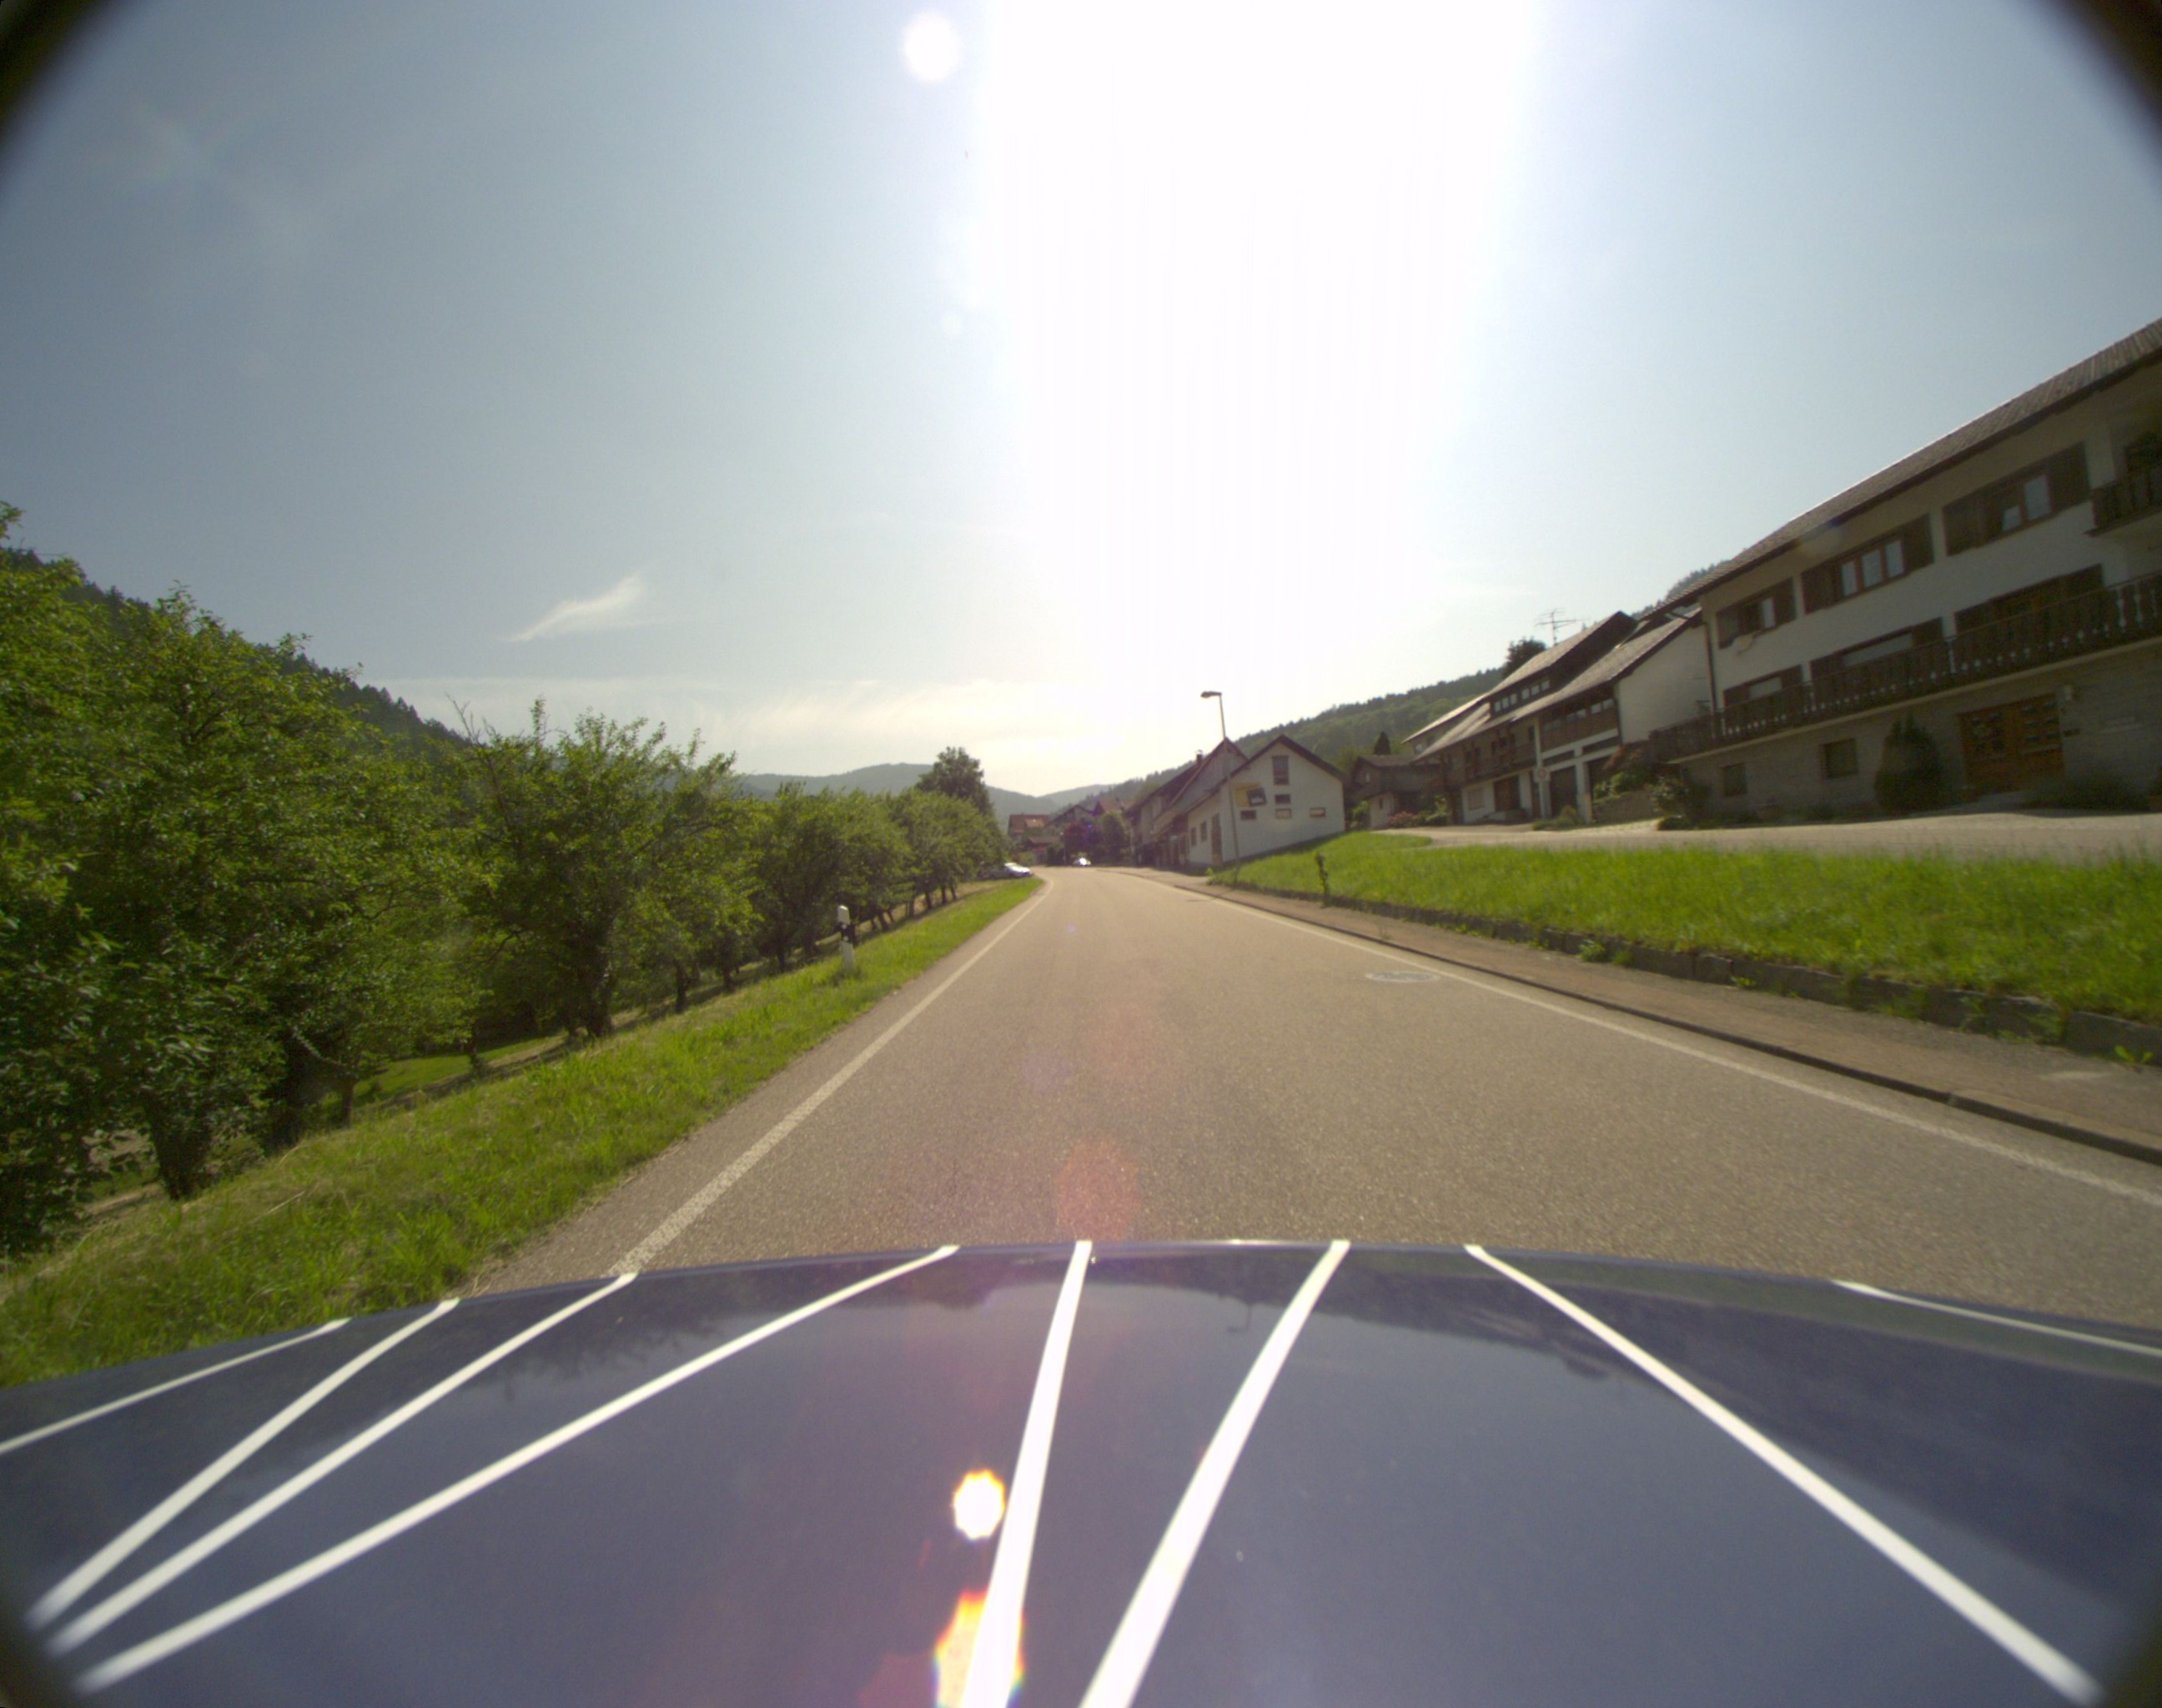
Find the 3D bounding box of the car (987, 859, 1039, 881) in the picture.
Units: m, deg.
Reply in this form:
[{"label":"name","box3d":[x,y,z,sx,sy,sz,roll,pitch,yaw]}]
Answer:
[{"label":"car","box3d":[-5.883,1.393,65.191,1.909,1.561,4.451,-5,-1,-45]}]

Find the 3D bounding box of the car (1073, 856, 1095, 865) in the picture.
[{"label":"car","box3d":[0.458,0.996,114.081,1.789,1.331,4.689,-2,0,-18]}]
